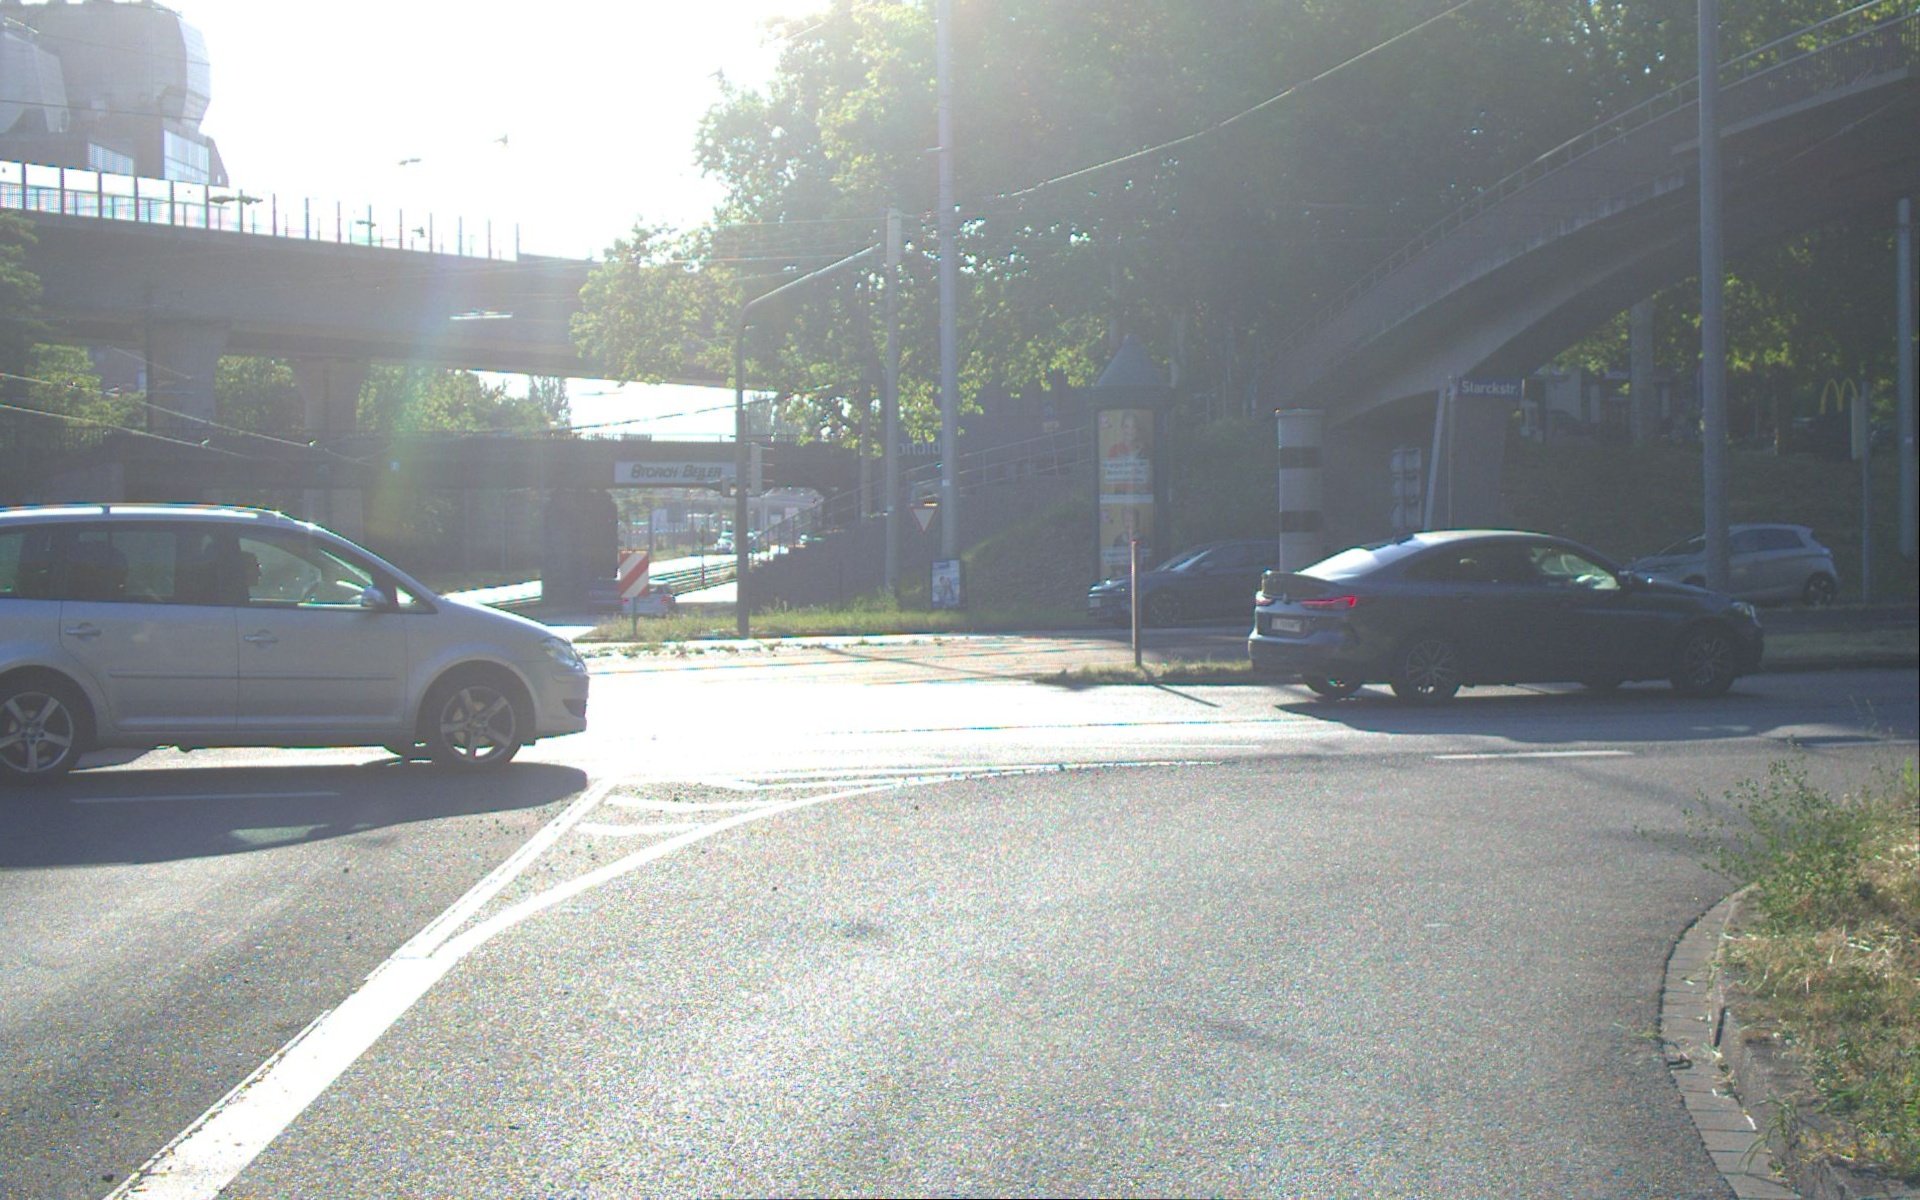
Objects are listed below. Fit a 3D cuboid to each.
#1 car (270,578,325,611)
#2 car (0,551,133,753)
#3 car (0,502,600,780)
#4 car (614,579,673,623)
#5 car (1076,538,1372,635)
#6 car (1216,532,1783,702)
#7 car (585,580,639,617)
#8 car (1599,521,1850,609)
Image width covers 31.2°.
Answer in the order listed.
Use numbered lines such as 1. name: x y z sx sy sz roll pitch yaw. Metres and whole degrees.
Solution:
1. car: -29.233 -0.246 151.832 1.606 1.414 4.008 0 1 1
2. car: -7.955 0.341 23.542 4.272 1.359 1.624 0 1 -21
3. car: -4.540 0.227 21.404 4.272 1.625 1.694 0 1 -21
4. car: -10.653 0.017 115.934 1.665 1.400 4.197 0 1 -1
5. car: 4.376 -0.221 57.031 4.574 1.569 1.694 0 1 -17
6. car: 4.569 0.128 29.121 4.475 1.364 1.694 0 1 -20
7. car: -13.881 -0.081 137.254 1.665 1.400 4.445 0 1 0
8. car: 13.475 -0.620 60.623 3.993 1.507 1.694 0 1 -19
